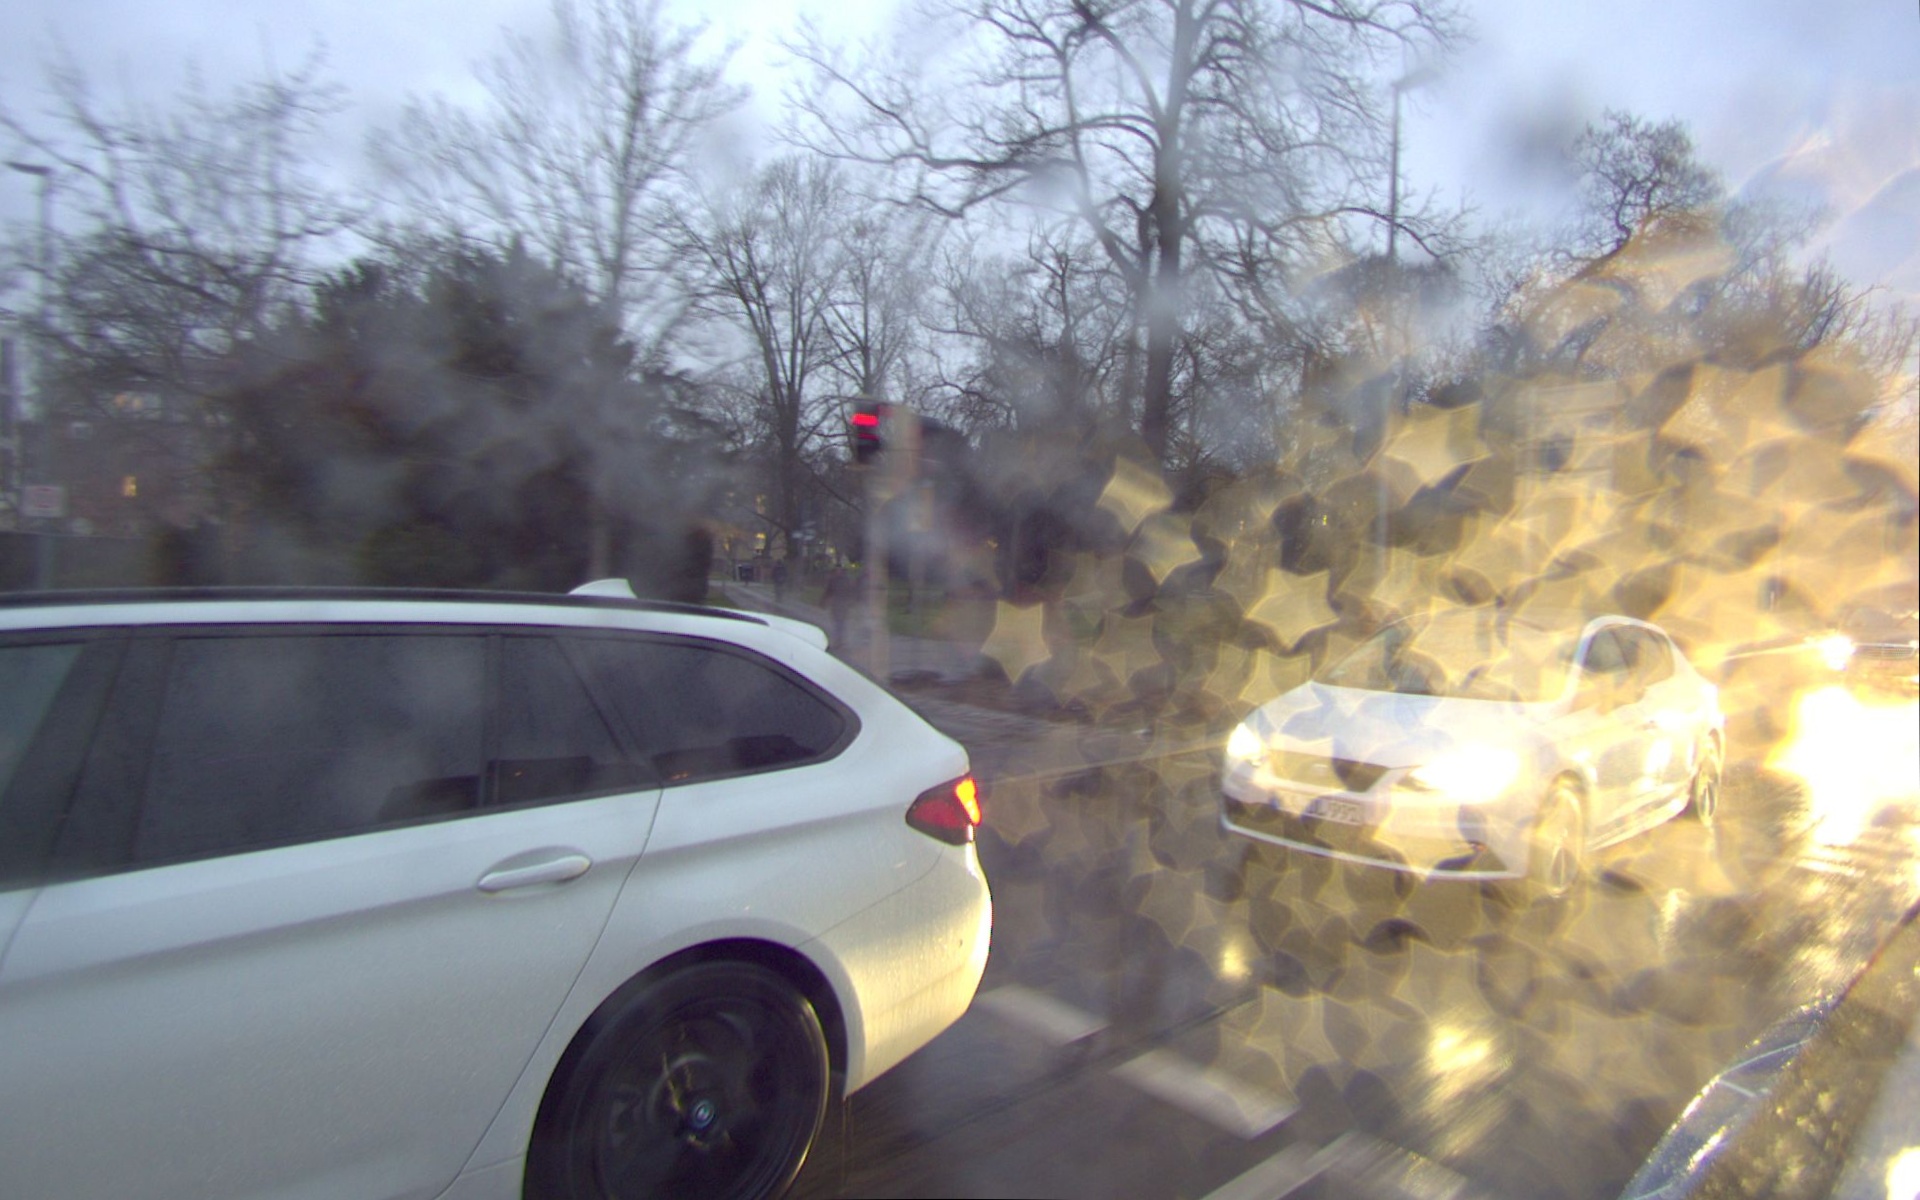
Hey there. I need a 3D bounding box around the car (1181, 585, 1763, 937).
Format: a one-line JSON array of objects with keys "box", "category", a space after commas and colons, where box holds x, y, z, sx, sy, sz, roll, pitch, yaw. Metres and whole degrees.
[{"box": [3.367, 0.673, 6.349, 3.968, 1.479, 1.778, -1, 2, -39], "category": "car"}]

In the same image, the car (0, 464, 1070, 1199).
[{"box": [-2.155, 0.552, 2.080, 4.876, 1.520, 1.791, -1, 1, -38], "category": "car"}]

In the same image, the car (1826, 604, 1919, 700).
[{"box": [17.662, 0.897, 18.760, 4.007, 1.517, 1.879, -1, 2, -41], "category": "car"}]
